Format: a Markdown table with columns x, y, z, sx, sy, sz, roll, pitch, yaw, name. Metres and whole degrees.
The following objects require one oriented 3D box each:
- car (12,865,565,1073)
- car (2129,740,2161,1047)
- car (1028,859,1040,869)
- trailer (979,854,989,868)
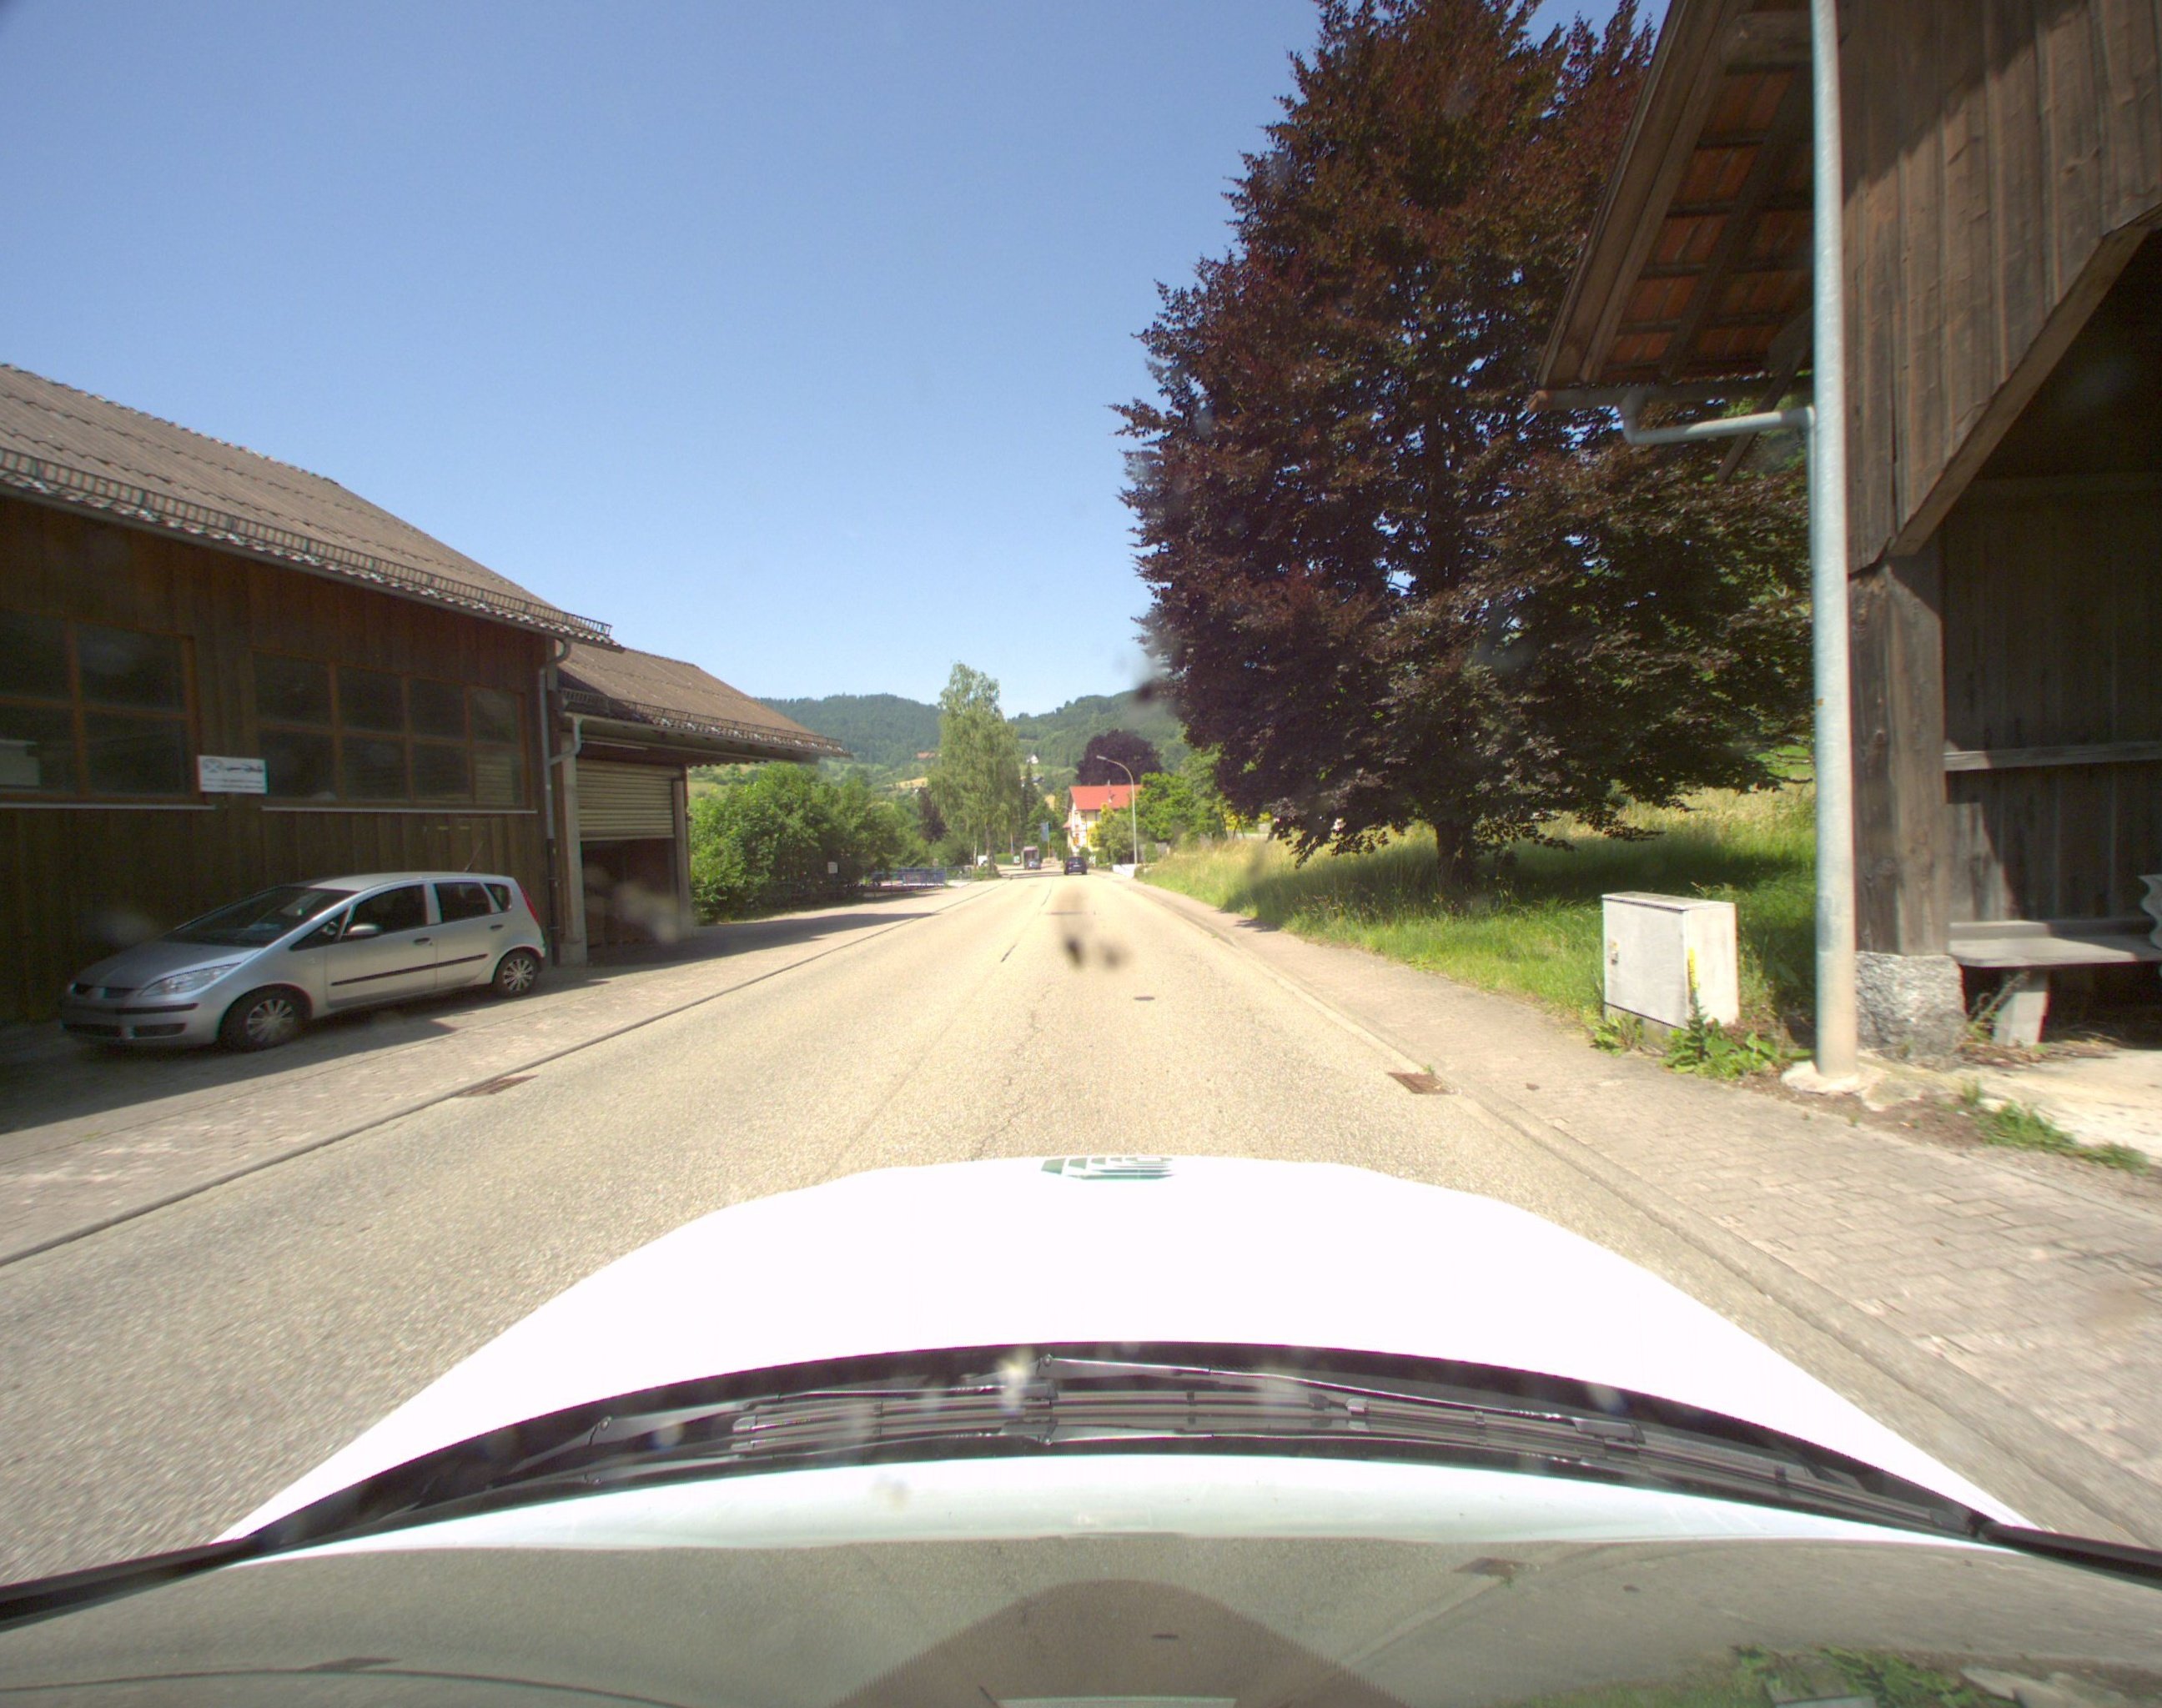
| x | y | z | sx | sy | sz | roll | pitch | yaw | name |
| --- | --- | --- | --- | --- | --- | --- | --- | --- | --- |
| -7.983 | 0.976 | 8.819 | 1.569 | 1.570 | 4.039 | 1 | 1 | 15 | car |
| 6.866 | 0.114 | 2.575 | 3.954 | 1.507 | 1.880 | -4 | 1 | 19 | car |
| -6.054 | 1.277 | 104.784 | 1.473 | 1.209 | 2.382 | -4 | 0 | -2 | car |
| -14.998 | 1.025 | 126.056 | 1.466 | 2.077 | 3.660 | -4 | 0 | -8 | trailer |
